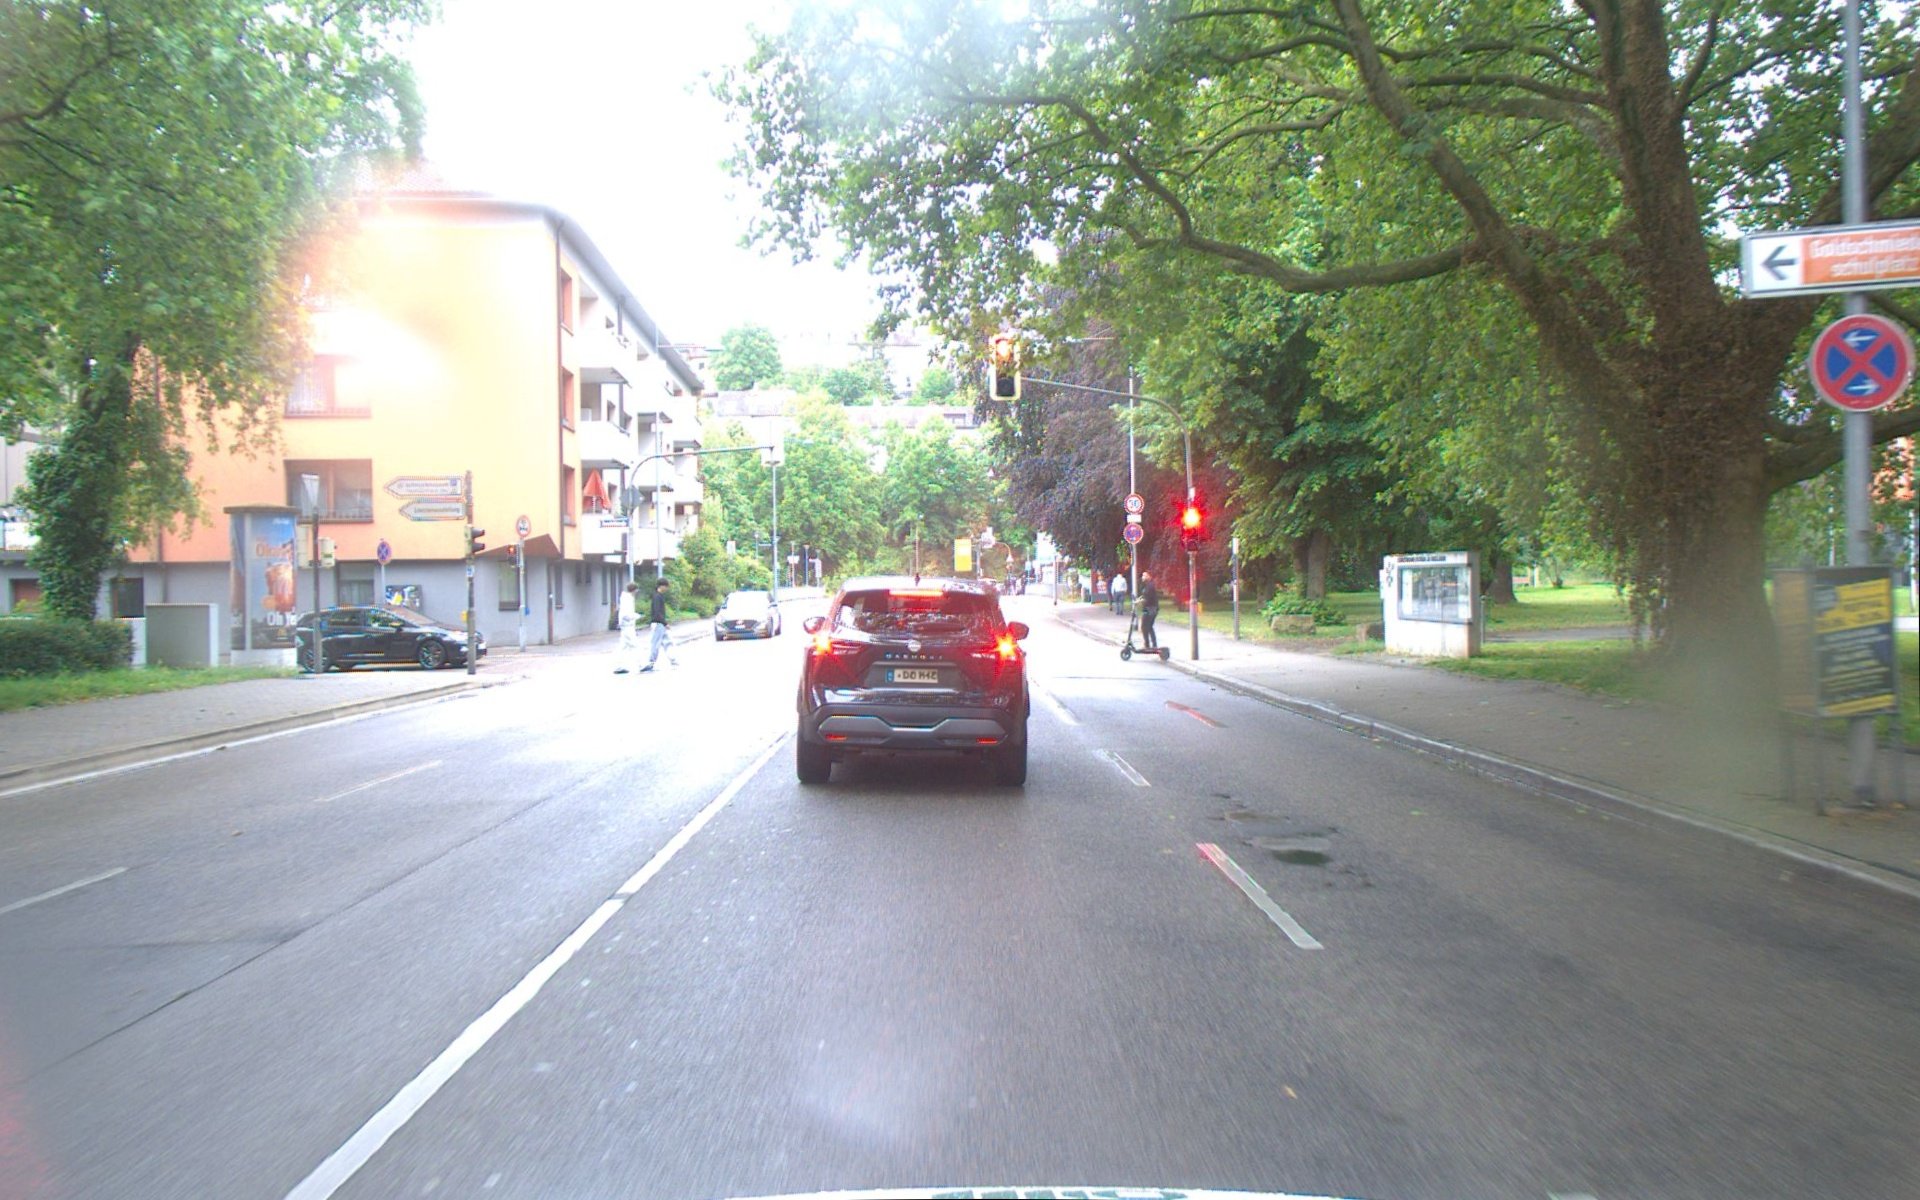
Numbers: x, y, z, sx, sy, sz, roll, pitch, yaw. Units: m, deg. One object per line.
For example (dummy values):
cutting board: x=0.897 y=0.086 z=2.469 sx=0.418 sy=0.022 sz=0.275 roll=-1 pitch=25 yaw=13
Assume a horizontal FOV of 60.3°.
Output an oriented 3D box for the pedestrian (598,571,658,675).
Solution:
pedestrian: x=-6.347 y=0.428 z=31.622 sx=1.017 sy=1.908 sz=0.656 roll=-3 pitch=1 yaw=-12

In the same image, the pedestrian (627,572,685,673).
pedestrian: x=-5.989 y=0.437 z=32.552 sx=1.017 sy=1.908 sz=0.656 roll=-3 pitch=1 yaw=-12

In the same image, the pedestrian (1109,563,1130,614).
pedestrian: x=6.526 y=-0.459 z=67.605 sx=0.710 sy=2.049 sz=0.851 roll=-1 pitch=0 yaw=-1

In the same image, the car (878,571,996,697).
car: x=-0.364 y=0.475 z=25.880 sx=1.664 sy=1.776 sz=3.640 roll=-2 pitch=1 yaw=-1

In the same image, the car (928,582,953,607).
car: x=-1.314 y=-0.382 z=110.099 sx=1.601 sy=1.559 sz=3.967 roll=-2 pitch=1 yaw=-1

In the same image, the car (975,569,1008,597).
car: x=2.076 y=-1.112 z=108.495 sx=1.952 sy=1.765 sz=4.002 roll=1 pitch=0 yaw=4

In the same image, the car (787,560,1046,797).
car: x=-0.341 y=0.553 z=14.068 sx=1.874 sy=1.709 sz=3.999 roll=1 pitch=0 yaw=-1

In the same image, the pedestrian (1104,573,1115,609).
pedestrian: x=6.447 y=-0.405 z=71.493 sx=0.382 sy=1.528 sz=0.559 roll=-1 pitch=0 yaw=-1

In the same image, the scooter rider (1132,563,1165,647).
scooter rider: x=4.077 y=0.114 z=35.812 sx=0.629 sy=1.797 sz=0.736 roll=-1 pitch=-1 yaw=12

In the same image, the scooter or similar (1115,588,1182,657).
scooter or similar: x=4.093 y=0.489 z=35.811 sx=1.364 sy=1.471 sz=0.818 roll=-1 pitch=-1 yaw=11

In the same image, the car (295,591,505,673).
car: x=-12.505 y=0.692 z=37.125 sx=4.042 sy=1.654 sz=1.850 roll=-2 pitch=0 yaw=-3

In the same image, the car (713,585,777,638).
car: x=-6.747 y=0.343 z=52.177 sx=1.760 sy=1.560 sz=3.864 roll=-2 pitch=0 yaw=-4

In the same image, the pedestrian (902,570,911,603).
pedestrian: x=-3.017 y=-0.751 z=93.396 sx=0.498 sy=1.833 sz=0.619 roll=-2 pitch=0 yaw=-3
